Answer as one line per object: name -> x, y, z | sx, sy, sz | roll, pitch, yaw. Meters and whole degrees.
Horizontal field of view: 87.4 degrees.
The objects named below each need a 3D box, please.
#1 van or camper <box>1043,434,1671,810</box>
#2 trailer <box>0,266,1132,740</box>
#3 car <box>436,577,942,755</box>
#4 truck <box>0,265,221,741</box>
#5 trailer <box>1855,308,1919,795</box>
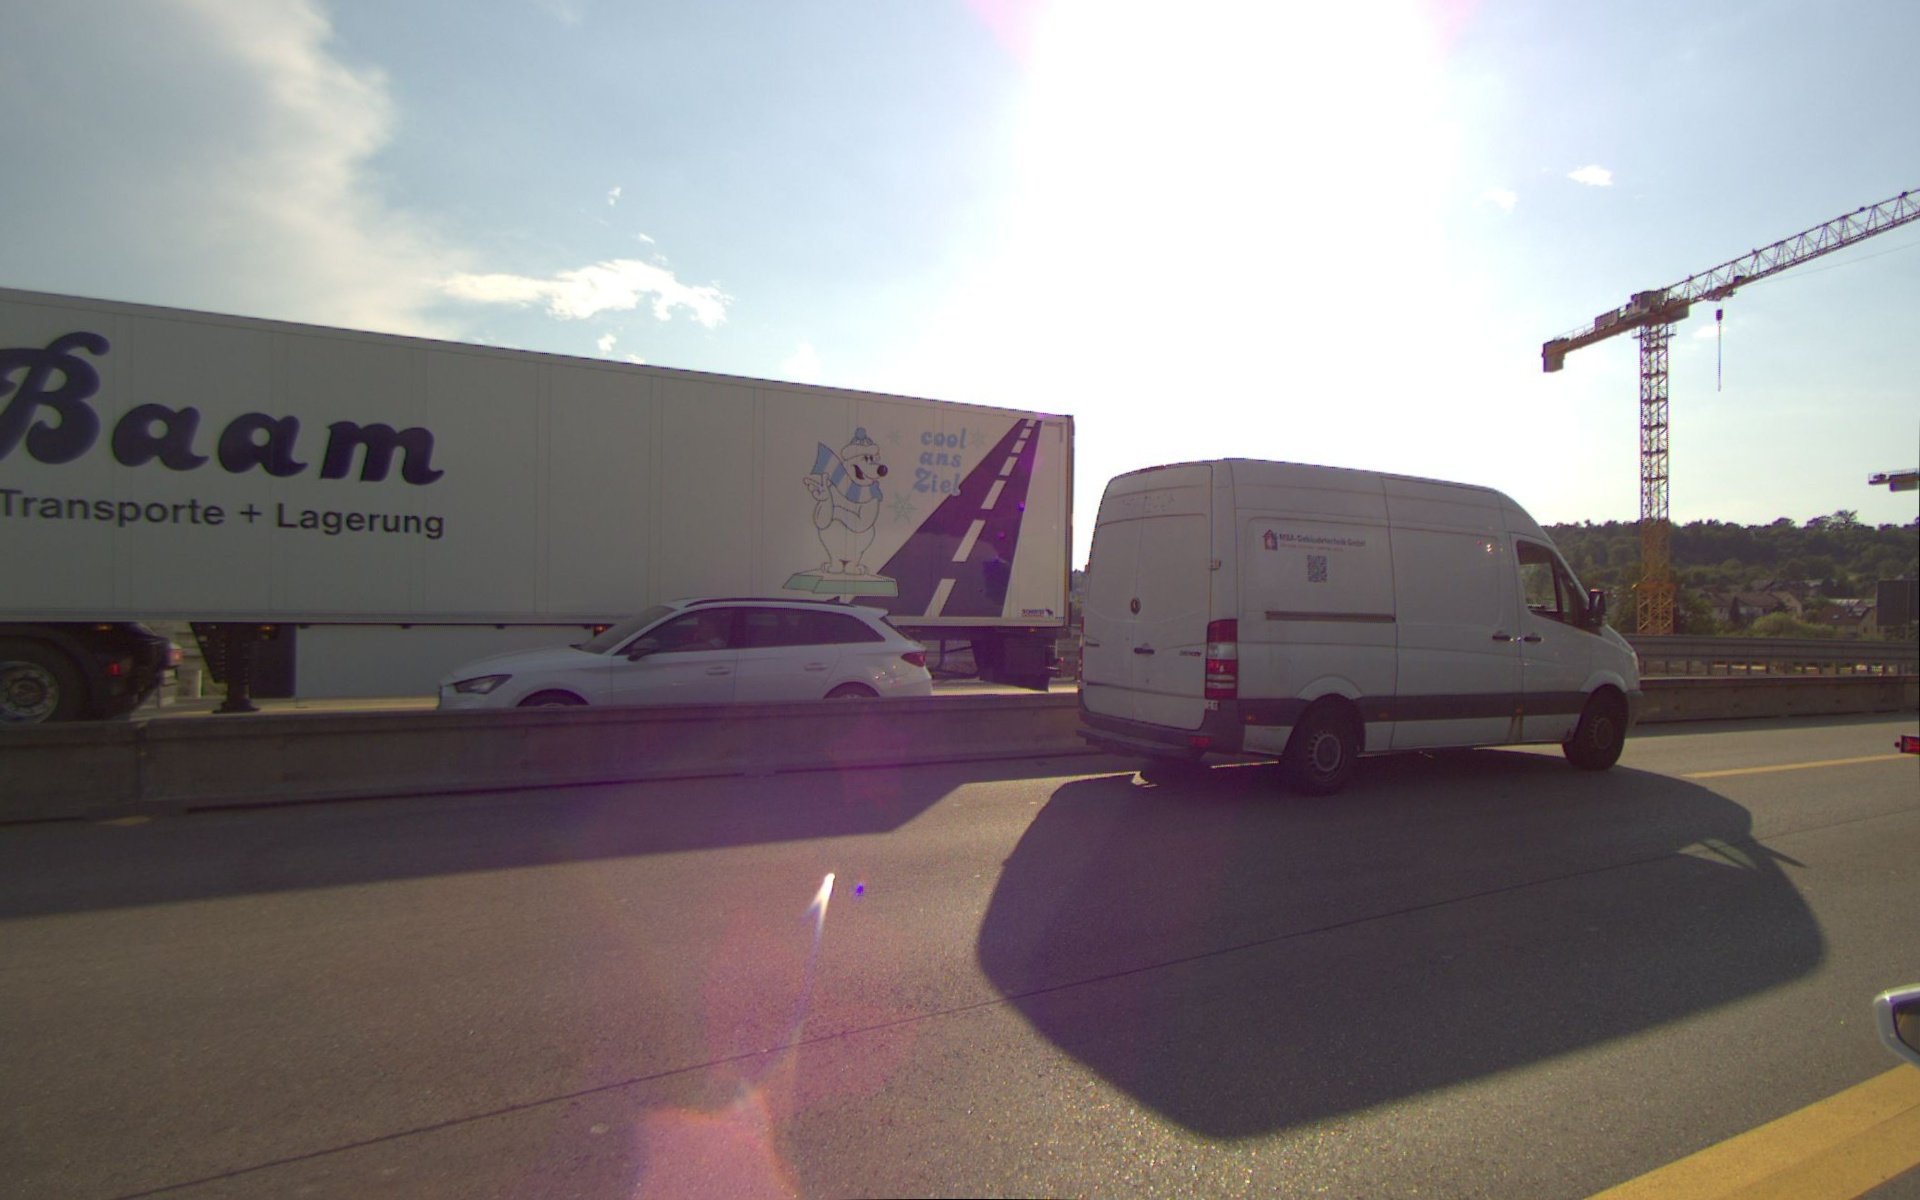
van or camper -> 3.798, 0.229, 9.286 | 5.826, 2.655, 1.987 | 2, 0, -26
trailer -> -4.371, -0.675, 12.156 | 13.895, 4.120, 2.619 | 2, -2, -26
car -> -2.550, 0.600, 9.706 | 4.399, 1.383, 1.899 | 2, -2, -29
truck -> -10.671, -0.860, 8.961 | 6.049, 4.120, 2.619 | 2, -2, -26
trailer -> 15.319, -0.211, 11.008 | 15.544, 4.049, 2.847 | 2, -1, -27
